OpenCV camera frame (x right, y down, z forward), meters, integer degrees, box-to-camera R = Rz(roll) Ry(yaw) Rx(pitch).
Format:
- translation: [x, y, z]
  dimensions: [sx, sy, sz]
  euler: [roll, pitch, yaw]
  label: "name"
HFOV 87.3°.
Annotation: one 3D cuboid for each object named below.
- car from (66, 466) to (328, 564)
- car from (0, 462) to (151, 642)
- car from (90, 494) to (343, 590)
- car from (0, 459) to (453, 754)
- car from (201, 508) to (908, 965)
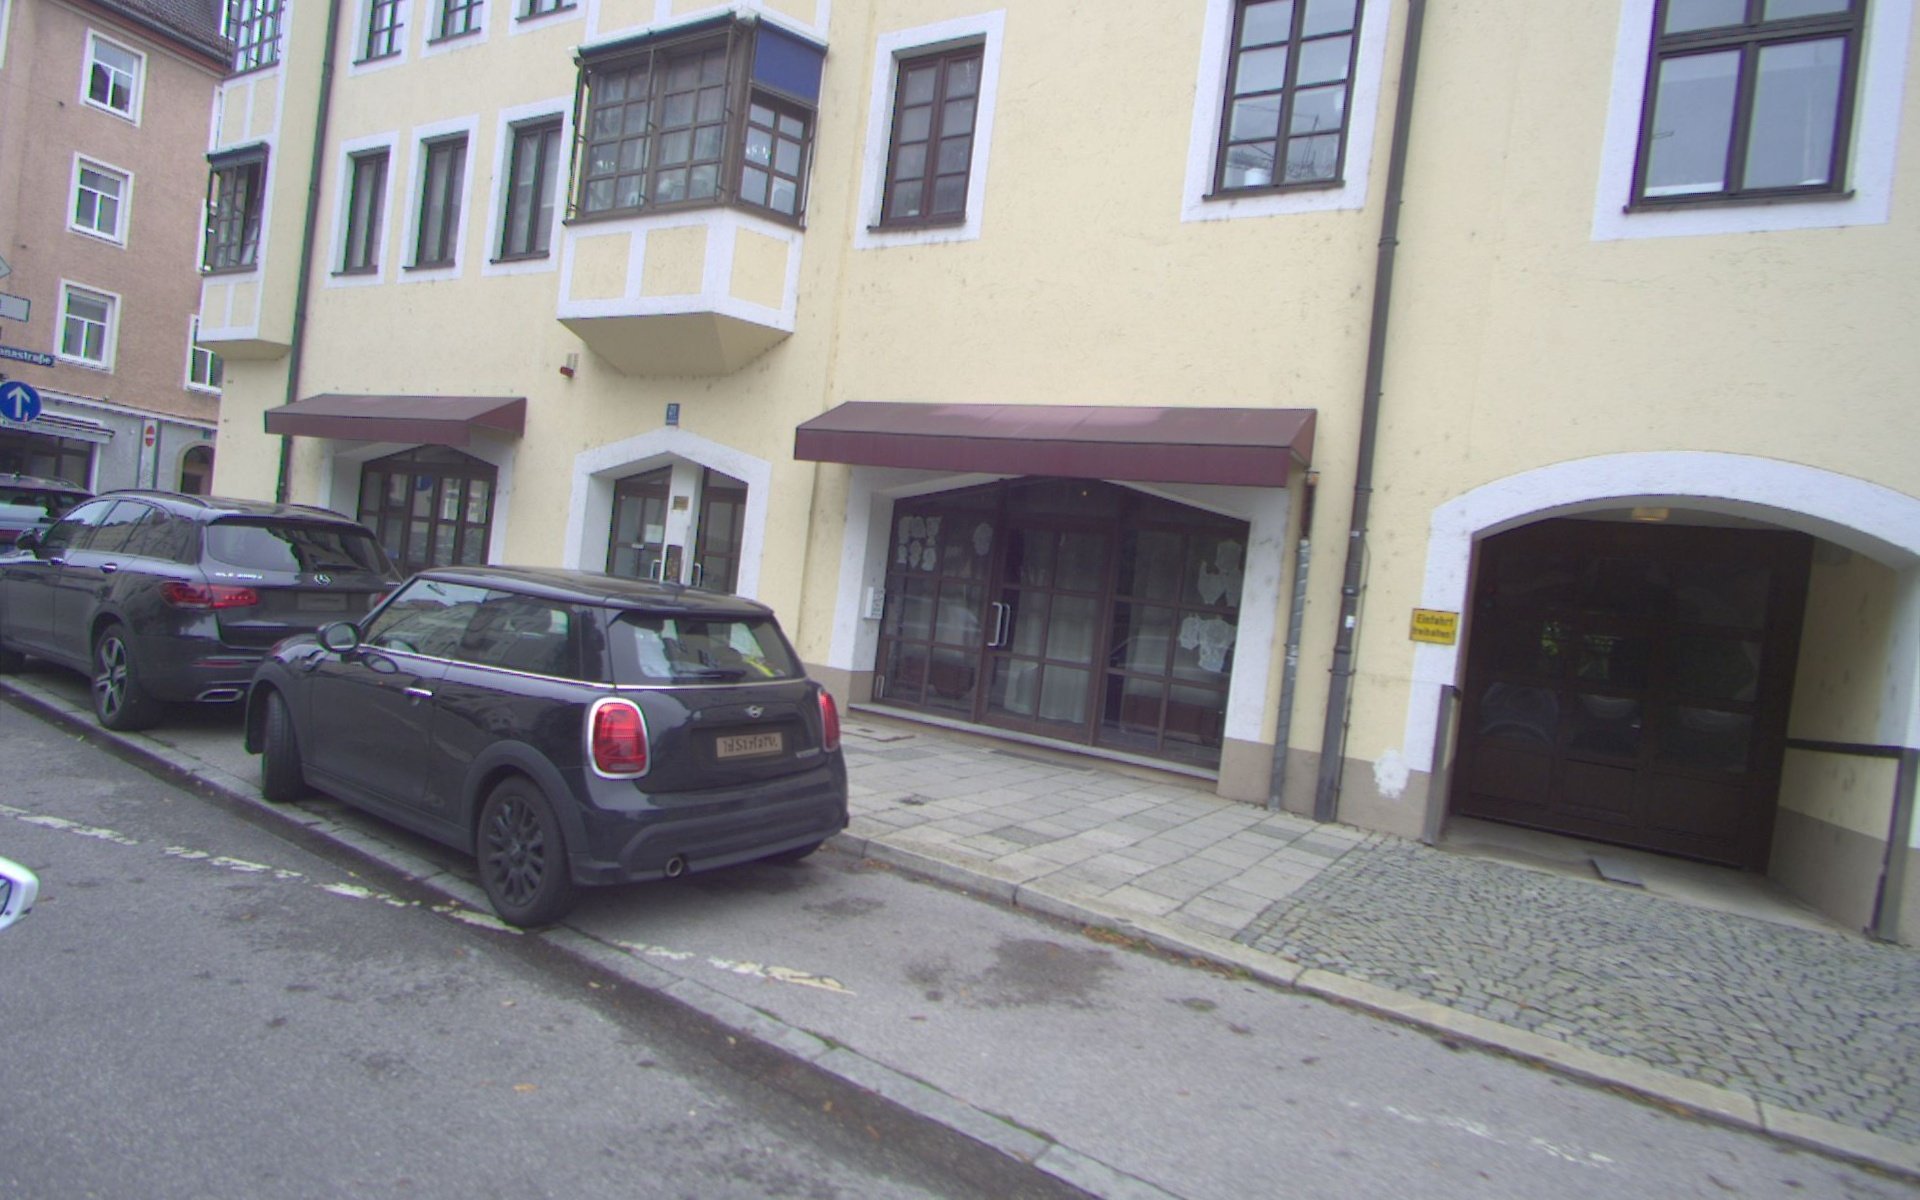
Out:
- translation: [-20.239, -2.198, 26.992]
  dimensions: [2.064, 1.876, 5.136]
  euler: [5, -1, 29]
  label: "car"
- translation: [-10.870, -0.673, 10.849]
  dimensions: [4.434, 1.701, 1.820]
  euler: [7, 2, 30]
  label: "car"
- translation: [-16.207, -1.223, 22.141]
  dimensions: [1.717, 1.475, 4.042]
  euler: [9, 1, 31]
  label: "car"
- translation: [-6.280, -0.113, 8.071]
  dimensions: [4.629, 1.701, 1.757]
  euler: [7, 2, 33]
  label: "car"
- translation: [-2.360, 0.451, 5.504]
  dimensions: [3.763, 1.516, 1.756]
  euler: [7, 2, 35]
  label: "car"
